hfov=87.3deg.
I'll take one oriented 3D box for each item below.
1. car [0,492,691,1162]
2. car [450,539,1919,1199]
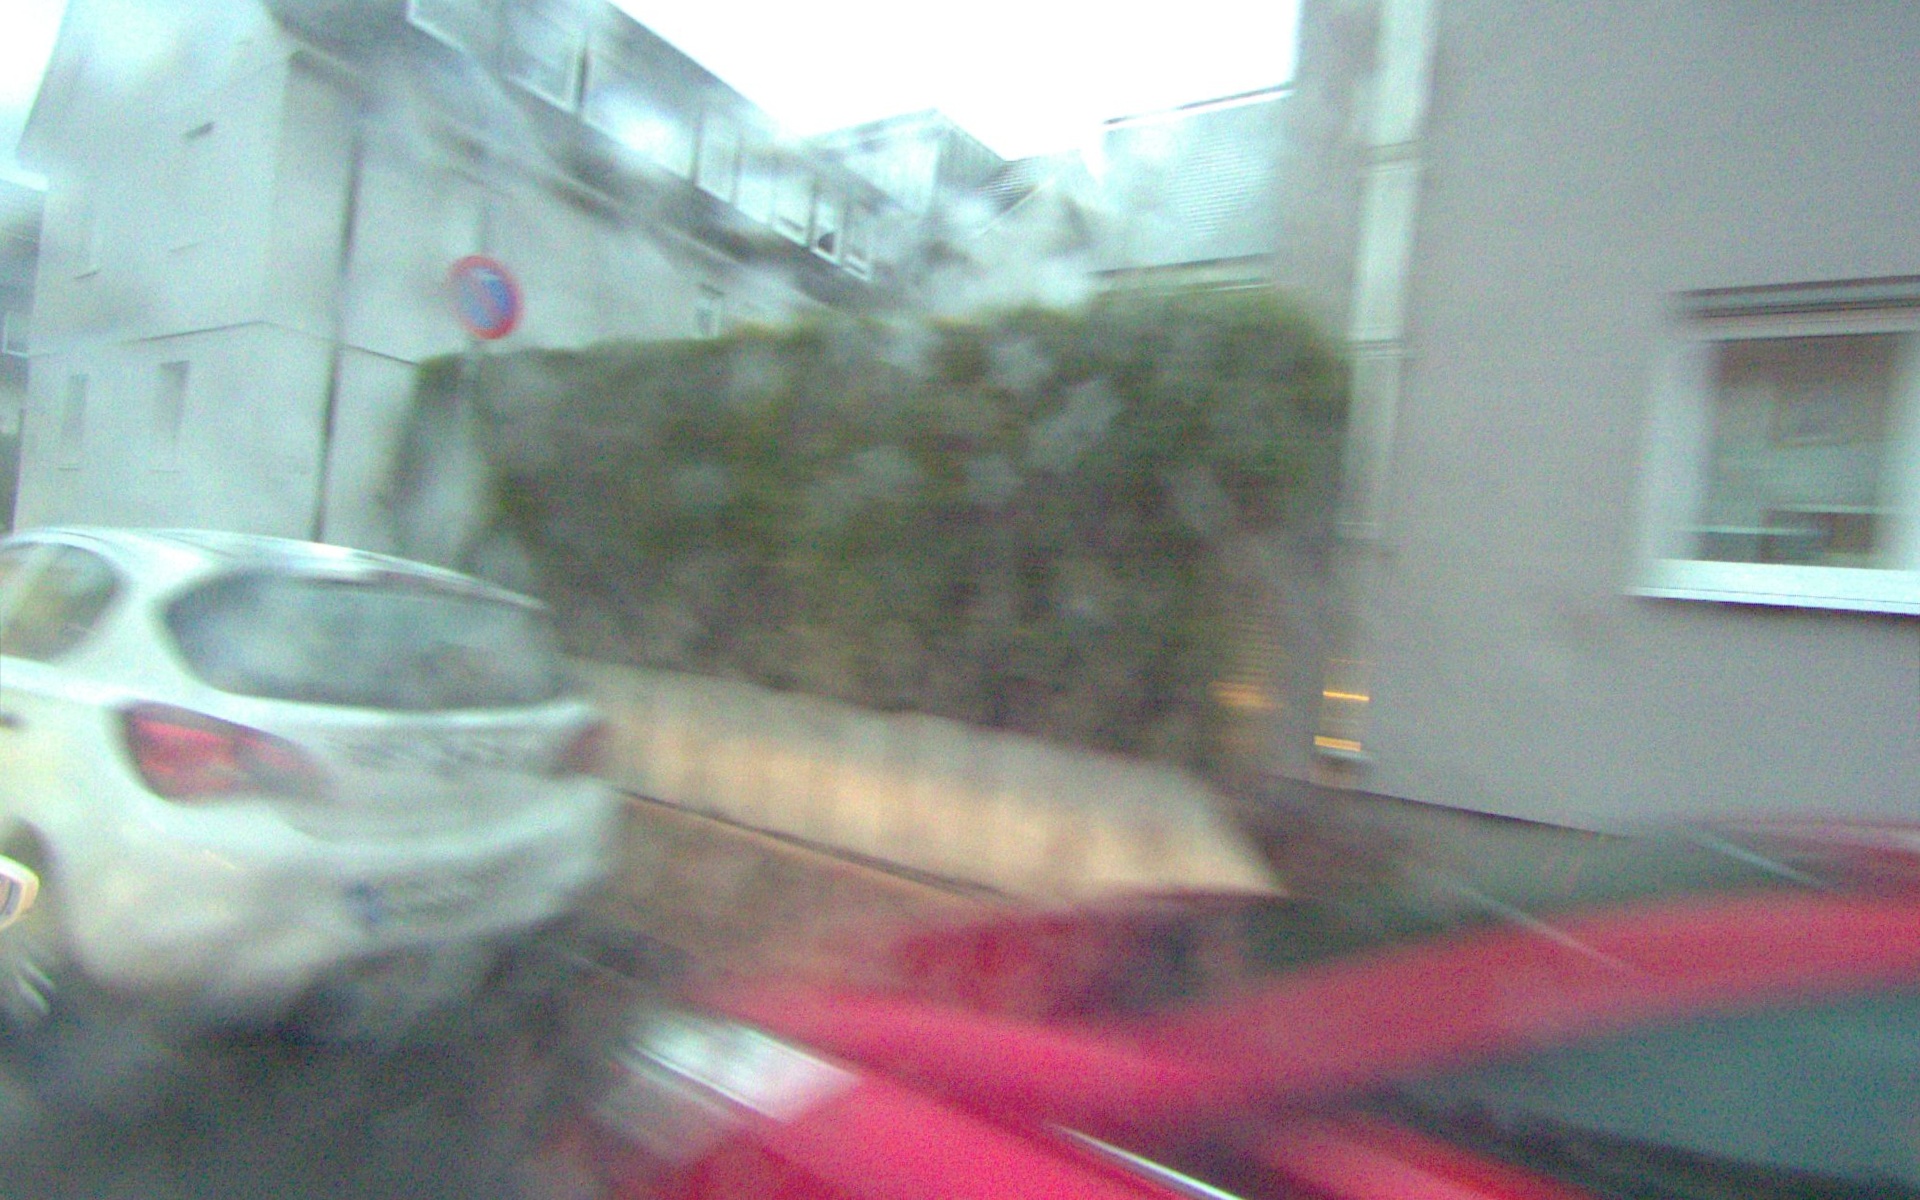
[{"bbox_3d":[-3.301,0.398,4.171,4.300,1.495,1.645,7,0,33],"label":"car"},{"bbox_3d":[1.445,0.894,1.198,4.234,1.423,1.737,7,0,33],"label":"car"}]
